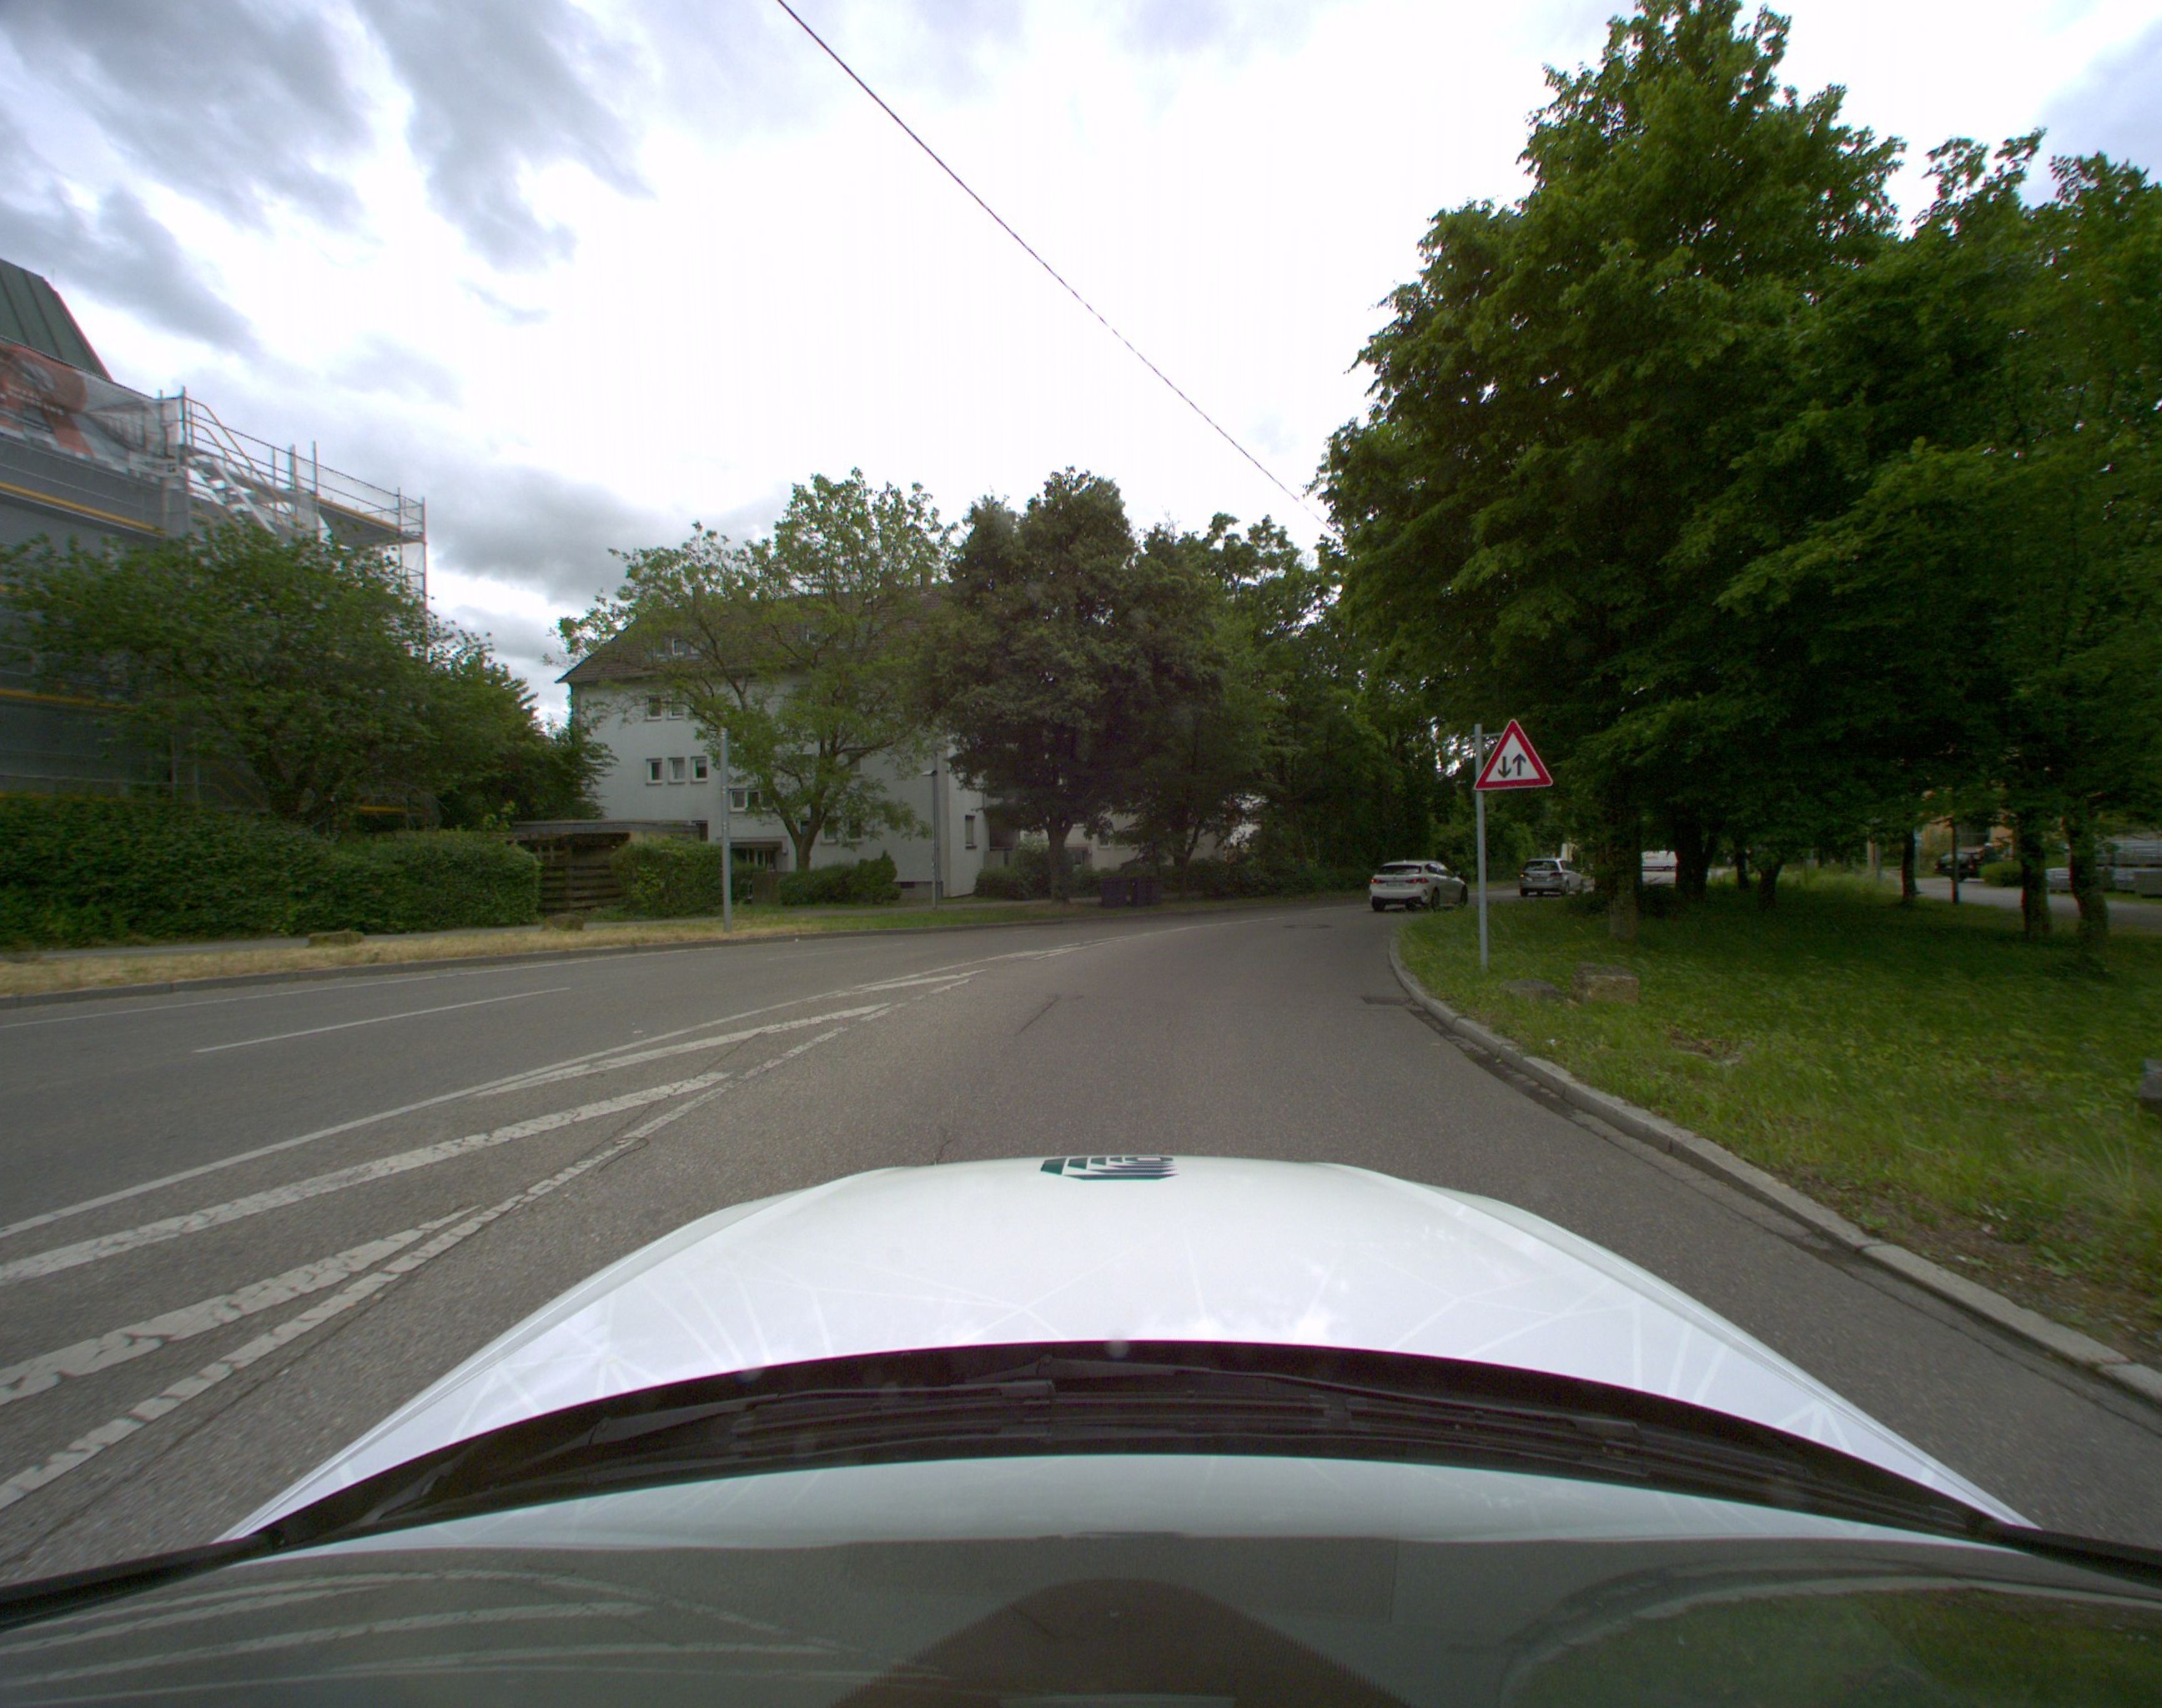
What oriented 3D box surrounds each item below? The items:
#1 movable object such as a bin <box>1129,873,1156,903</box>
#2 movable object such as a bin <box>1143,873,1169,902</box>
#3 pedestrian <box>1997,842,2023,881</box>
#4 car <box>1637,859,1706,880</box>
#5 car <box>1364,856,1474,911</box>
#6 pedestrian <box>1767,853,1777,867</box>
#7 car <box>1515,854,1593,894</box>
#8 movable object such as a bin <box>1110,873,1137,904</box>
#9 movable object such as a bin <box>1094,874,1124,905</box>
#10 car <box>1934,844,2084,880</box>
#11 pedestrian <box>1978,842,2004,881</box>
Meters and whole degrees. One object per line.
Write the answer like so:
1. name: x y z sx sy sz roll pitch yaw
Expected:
1. movable object such as a bin: 1.861 1.023 24.717 0.578 0.866 0.596 1 2 -23
2. movable object such as a bin: 2.289 1.025 24.962 0.578 0.844 0.596 1 2 -23
3. pedestrian: 42.087 0.352 36.907 0.493 1.725 0.539 -4 0 17
4. car: 74.270 1.920 102.530 6.916 2.521 2.091 0 1 9
5. car: 10.158 0.833 24.305 1.778 1.517 4.233 0 -1 41
6. pedestrian: 97.126 0.901 114.496 0.915 1.872 1.025 -6 -2 43
7. car: 19.801 0.809 34.002 1.905 1.574 4.024 -1 -1 44
8. movable object such as a bin: 1.289 1.023 24.493 0.593 0.879 0.616 1 2 -23
9. movable object such as a bin: 0.818 1.033 24.059 0.623 0.863 0.725 1 2 -22
10. car: 43.232 0.386 38.015 4.708 1.517 1.872 -1 -2 2
11. pedestrian: 41.320 0.334 36.981 0.469 1.754 0.587 -4 0 17
